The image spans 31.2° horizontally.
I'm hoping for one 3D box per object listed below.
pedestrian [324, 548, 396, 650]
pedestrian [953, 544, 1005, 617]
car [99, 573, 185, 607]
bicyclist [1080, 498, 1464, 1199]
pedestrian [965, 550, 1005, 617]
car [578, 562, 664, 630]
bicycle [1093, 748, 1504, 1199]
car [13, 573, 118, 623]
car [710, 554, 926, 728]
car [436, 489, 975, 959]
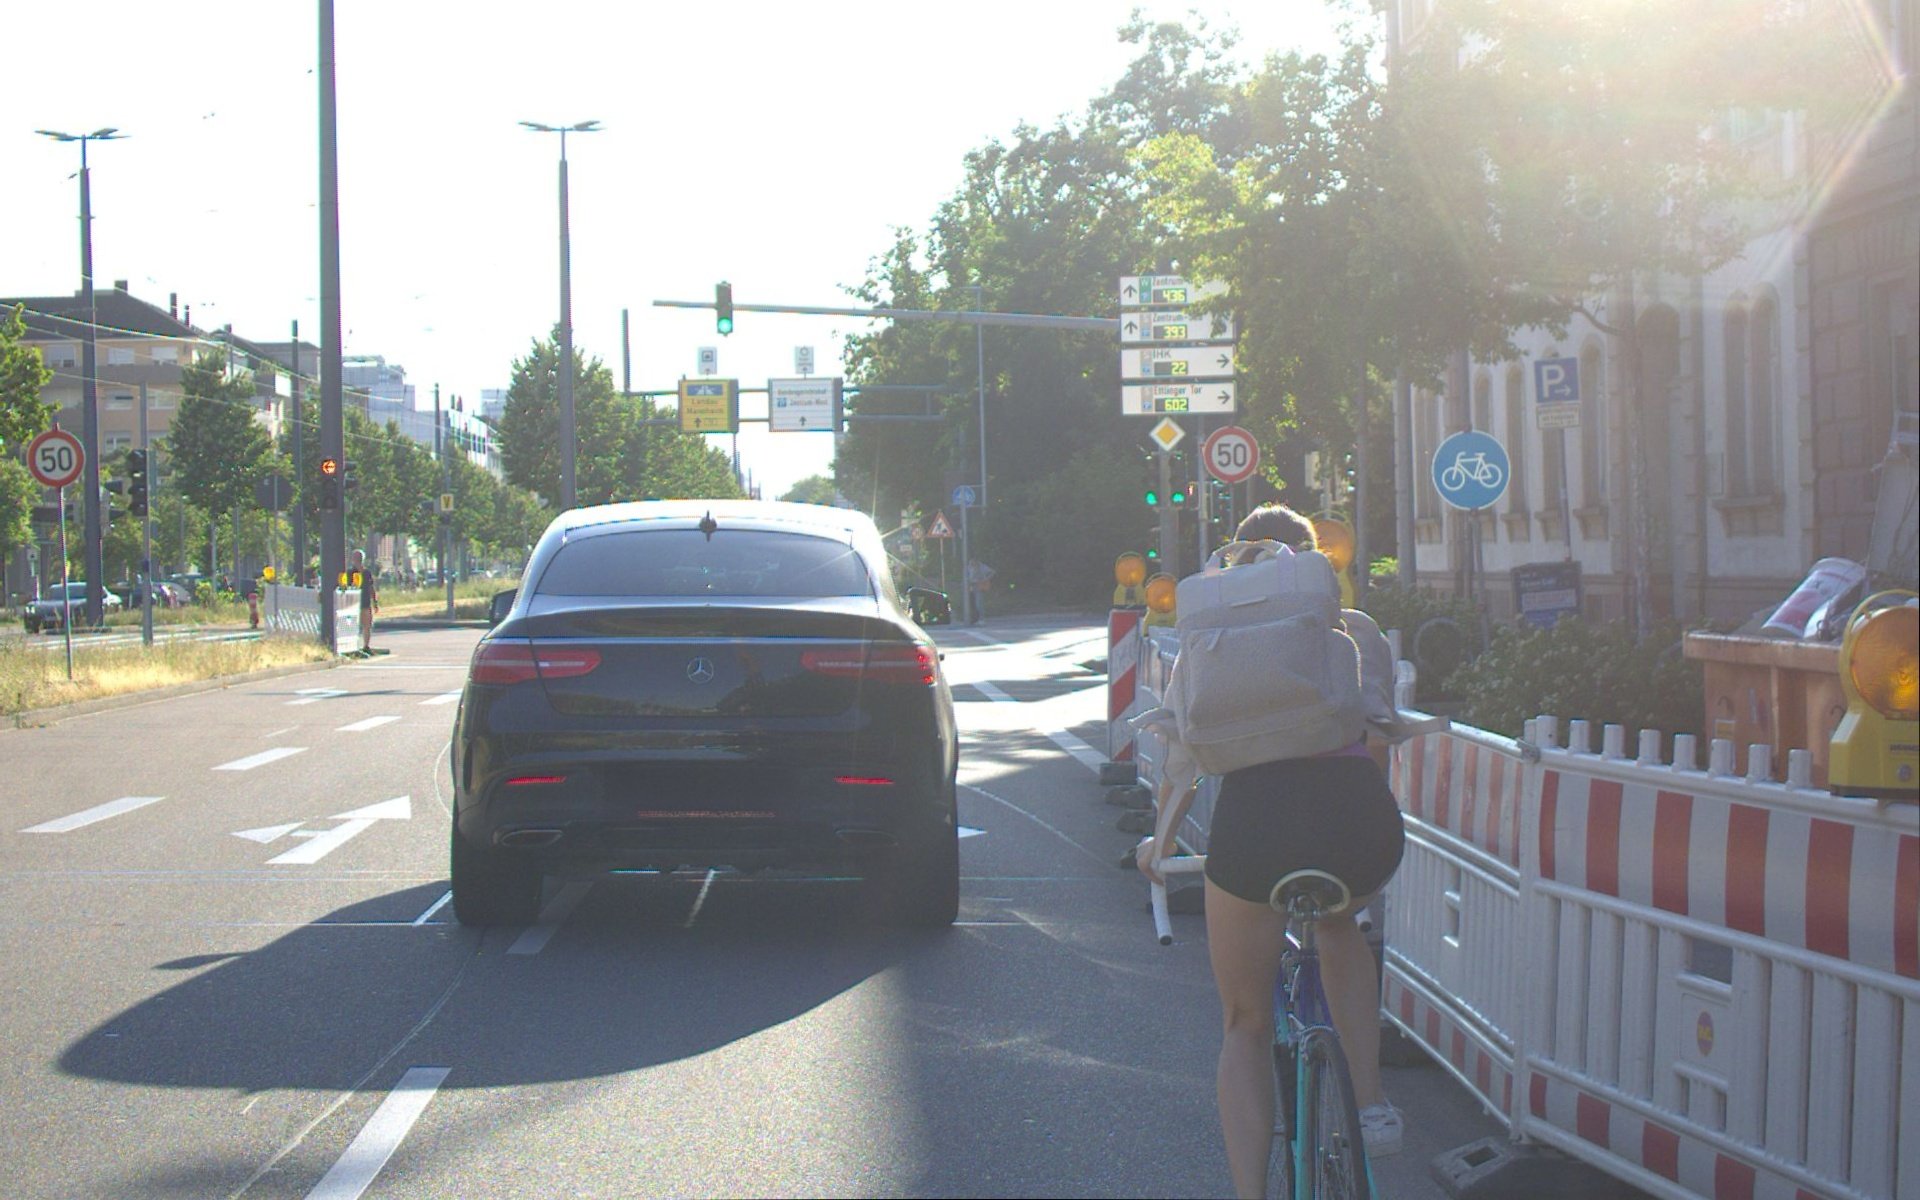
[{"bbox_3d":[-9.857,-0.026,56.472,0.924,1.643,0.765,-1,0,10],"label":"pedestrian"},{"bbox_3d":[0.488,-0.498,86.963,0.857,1.796,0.907,-4,1,-36],"label":"pedestrian"},{"bbox_3d":[-38.346,-0.473,161.181,3.615,1.518,1.620,1,0,-42],"label":"car"},{"bbox_3d":[0.552,0.564,6.368,0.552,1.486,1.081,-1,1,-2],"label":"bicyclist"},{"bbox_3d":[0.630,-0.417,86.144,0.766,1.631,0.770,-3,1,-11],"label":"pedestrian"},{"bbox_3d":[-8.272,-0.116,84.183,1.885,1.575,4.001,0,1,-3],"label":"car"},{"bbox_3d":[0.582,0.887,6.416,0.520,1.093,1.843,-1,1,-2],"label":"bicycle"},{"bbox_3d":[-25.309,-0.070,97.394,1.891,1.339,4.851,-1,1,-2],"label":"car"},{"bbox_3d":[-1.348,0.334,32.456,1.897,1.522,4.059,-1,1,-3],"label":"car"},{"bbox_3d":[-1.176,0.409,14.752,1.993,1.728,4.001,0,1,-7],"label":"car"}]
